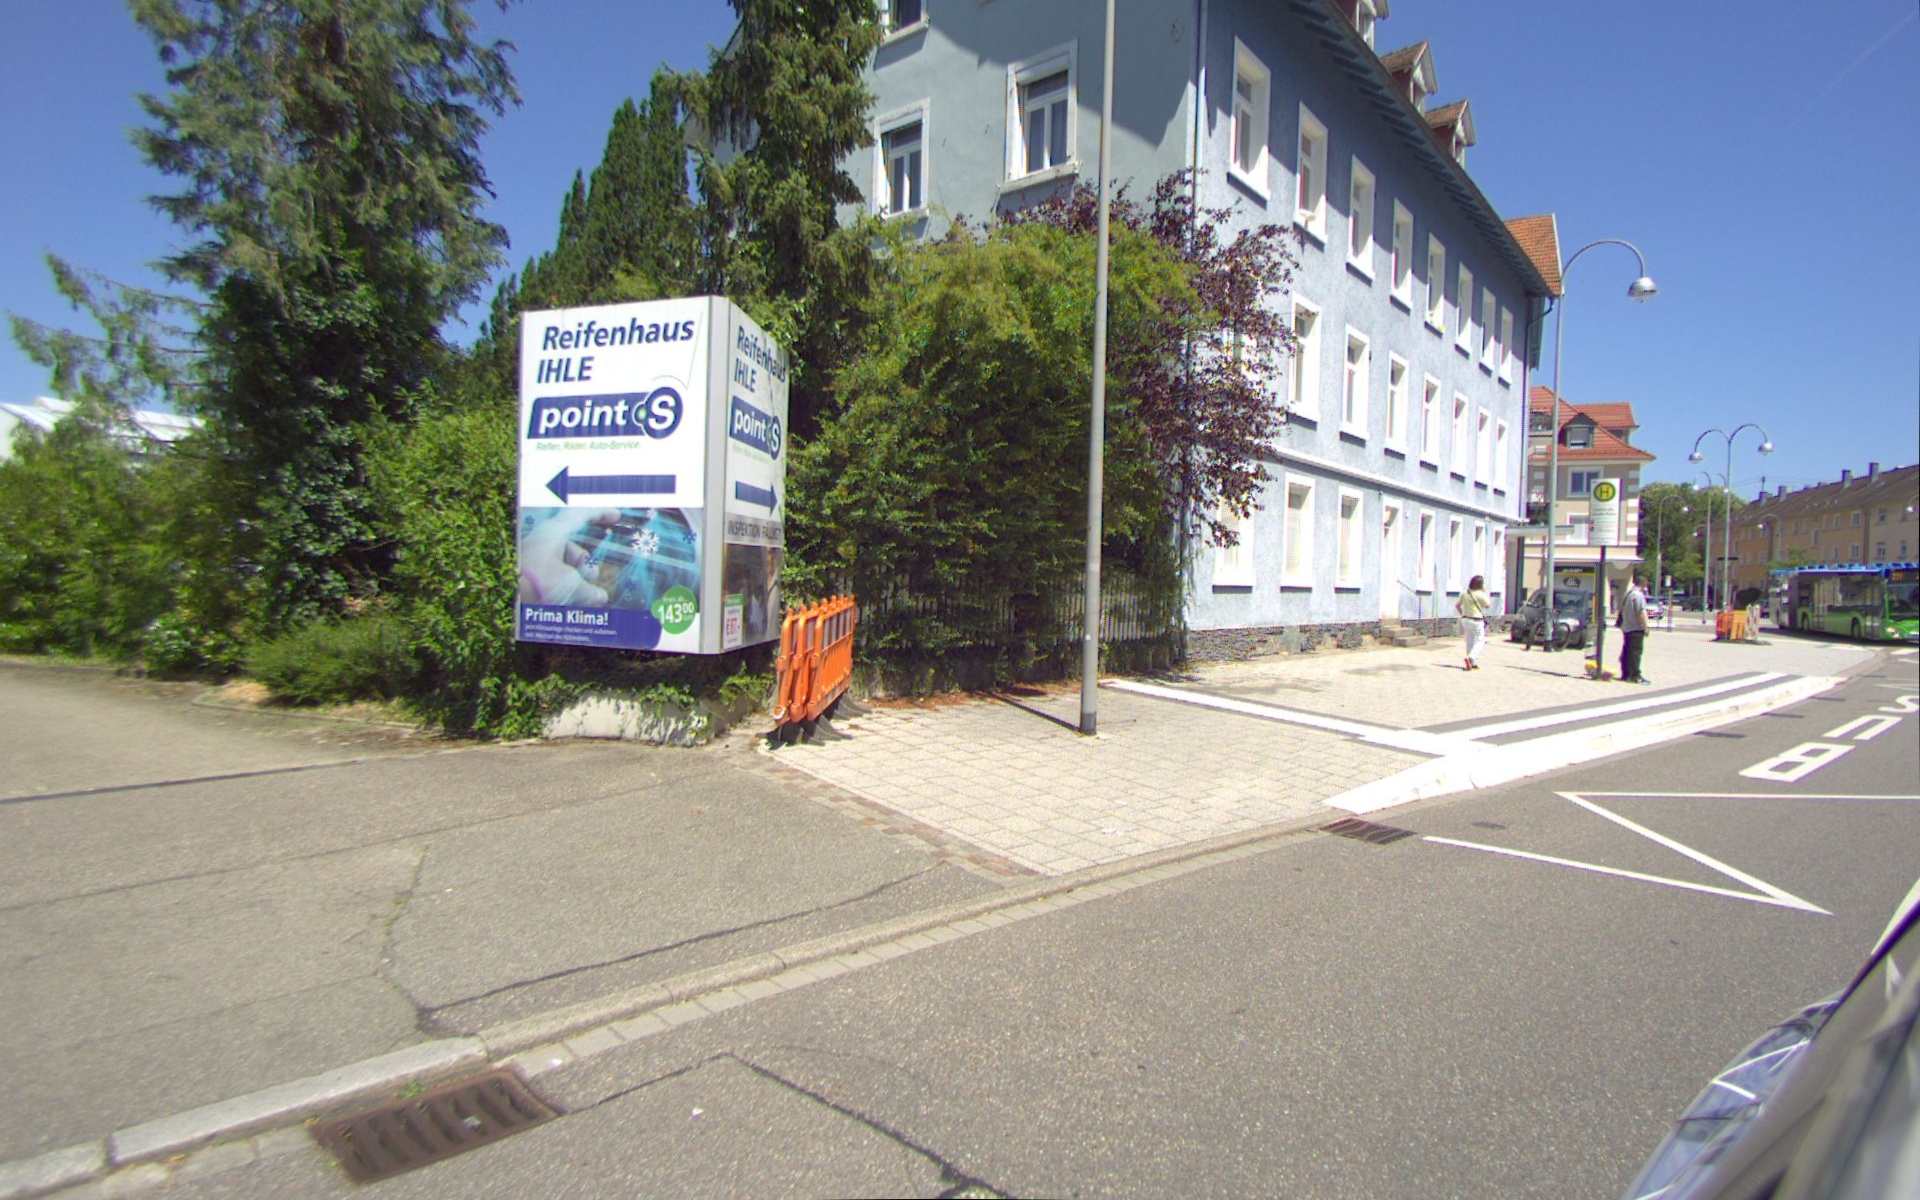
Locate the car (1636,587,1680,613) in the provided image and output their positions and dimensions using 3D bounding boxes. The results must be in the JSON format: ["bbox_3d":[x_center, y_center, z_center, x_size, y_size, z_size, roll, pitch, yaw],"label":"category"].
[{"bbox_3d":[45.246,-0.002,65.714,1.811,1.427,3.962,4,4,28],"label":"car"}]

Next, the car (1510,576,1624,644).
[{"bbox_3d":[16.059,0.236,26.715,1.759,1.532,3.683,7,5,43],"label":"car"}]

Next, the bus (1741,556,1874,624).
[{"bbox_3d":[43.162,-0.426,52.026,2.905,3.100,12.432,0,0,29],"label":"bus"}]

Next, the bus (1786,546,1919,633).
[{"bbox_3d":[38.024,-0.343,41.905,2.882,3.119,12.453,1,0,25],"label":"bus"}]

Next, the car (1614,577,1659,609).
[{"bbox_3d":[56.651,-0.614,84.855,2.321,2.486,5.680,4,2,27],"label":"car"}]

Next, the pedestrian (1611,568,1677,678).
[{"bbox_3d":[11.912,0.382,17.650,0.744,1.826,0.610,5,4,28],"label":"pedestrian"}]

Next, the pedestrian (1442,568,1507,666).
[{"bbox_3d":[8.958,0.286,17.618,0.735,1.635,0.617,1,3,-31],"label":"pedestrian"}]

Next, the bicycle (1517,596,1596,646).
[{"bbox_3d":[13.717,0.488,23.263,1.845,1.051,0.635,2,3,-29],"label":"bicycle"}]
